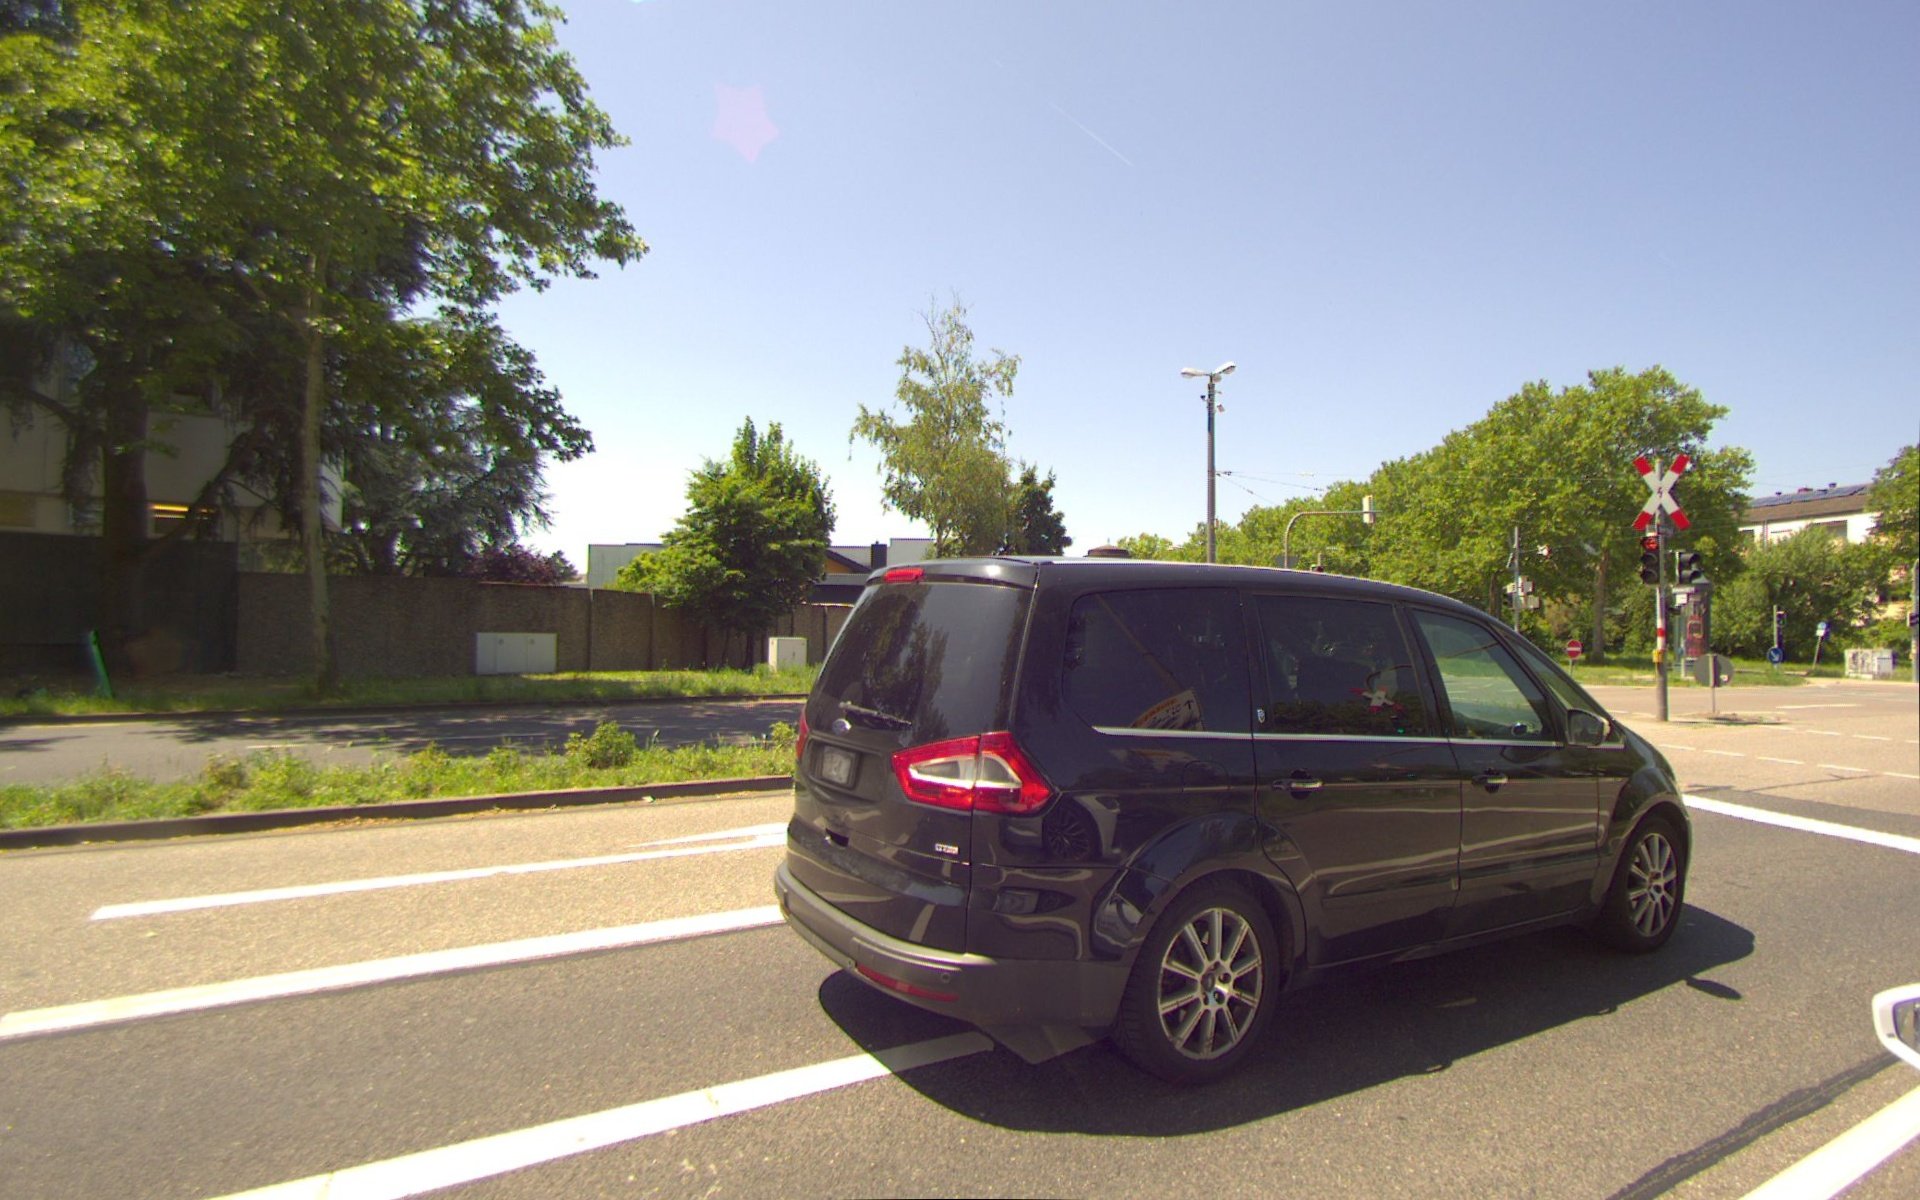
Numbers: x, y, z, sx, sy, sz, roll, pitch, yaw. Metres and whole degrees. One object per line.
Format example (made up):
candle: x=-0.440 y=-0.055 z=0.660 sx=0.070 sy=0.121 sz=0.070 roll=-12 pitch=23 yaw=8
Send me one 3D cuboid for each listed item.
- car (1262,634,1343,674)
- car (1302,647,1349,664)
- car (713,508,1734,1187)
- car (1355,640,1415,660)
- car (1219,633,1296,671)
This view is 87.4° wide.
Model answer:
car: x=13.188 y=2.055 z=38.916 sx=1.730 sy=1.476 sz=3.993 roll=1 pitch=-2 yaw=-1
car: x=31.308 y=4.736 z=86.138 sx=3.482 sy=1.415 sz=1.499 roll=1 pitch=-2 yaw=-5
car: x=1.402 y=0.715 z=4.614 sx=4.594 sy=1.779 sz=1.845 roll=2 pitch=-1 yaw=-30
car: x=33.179 y=3.916 z=78.413 sx=4.059 sy=1.415 sz=1.458 roll=2 pitch=-1 yaw=-5
car: x=13.521 y=2.349 z=45.921 sx=2.173 sy=1.625 sz=4.462 roll=0 pitch=-2 yaw=-1
